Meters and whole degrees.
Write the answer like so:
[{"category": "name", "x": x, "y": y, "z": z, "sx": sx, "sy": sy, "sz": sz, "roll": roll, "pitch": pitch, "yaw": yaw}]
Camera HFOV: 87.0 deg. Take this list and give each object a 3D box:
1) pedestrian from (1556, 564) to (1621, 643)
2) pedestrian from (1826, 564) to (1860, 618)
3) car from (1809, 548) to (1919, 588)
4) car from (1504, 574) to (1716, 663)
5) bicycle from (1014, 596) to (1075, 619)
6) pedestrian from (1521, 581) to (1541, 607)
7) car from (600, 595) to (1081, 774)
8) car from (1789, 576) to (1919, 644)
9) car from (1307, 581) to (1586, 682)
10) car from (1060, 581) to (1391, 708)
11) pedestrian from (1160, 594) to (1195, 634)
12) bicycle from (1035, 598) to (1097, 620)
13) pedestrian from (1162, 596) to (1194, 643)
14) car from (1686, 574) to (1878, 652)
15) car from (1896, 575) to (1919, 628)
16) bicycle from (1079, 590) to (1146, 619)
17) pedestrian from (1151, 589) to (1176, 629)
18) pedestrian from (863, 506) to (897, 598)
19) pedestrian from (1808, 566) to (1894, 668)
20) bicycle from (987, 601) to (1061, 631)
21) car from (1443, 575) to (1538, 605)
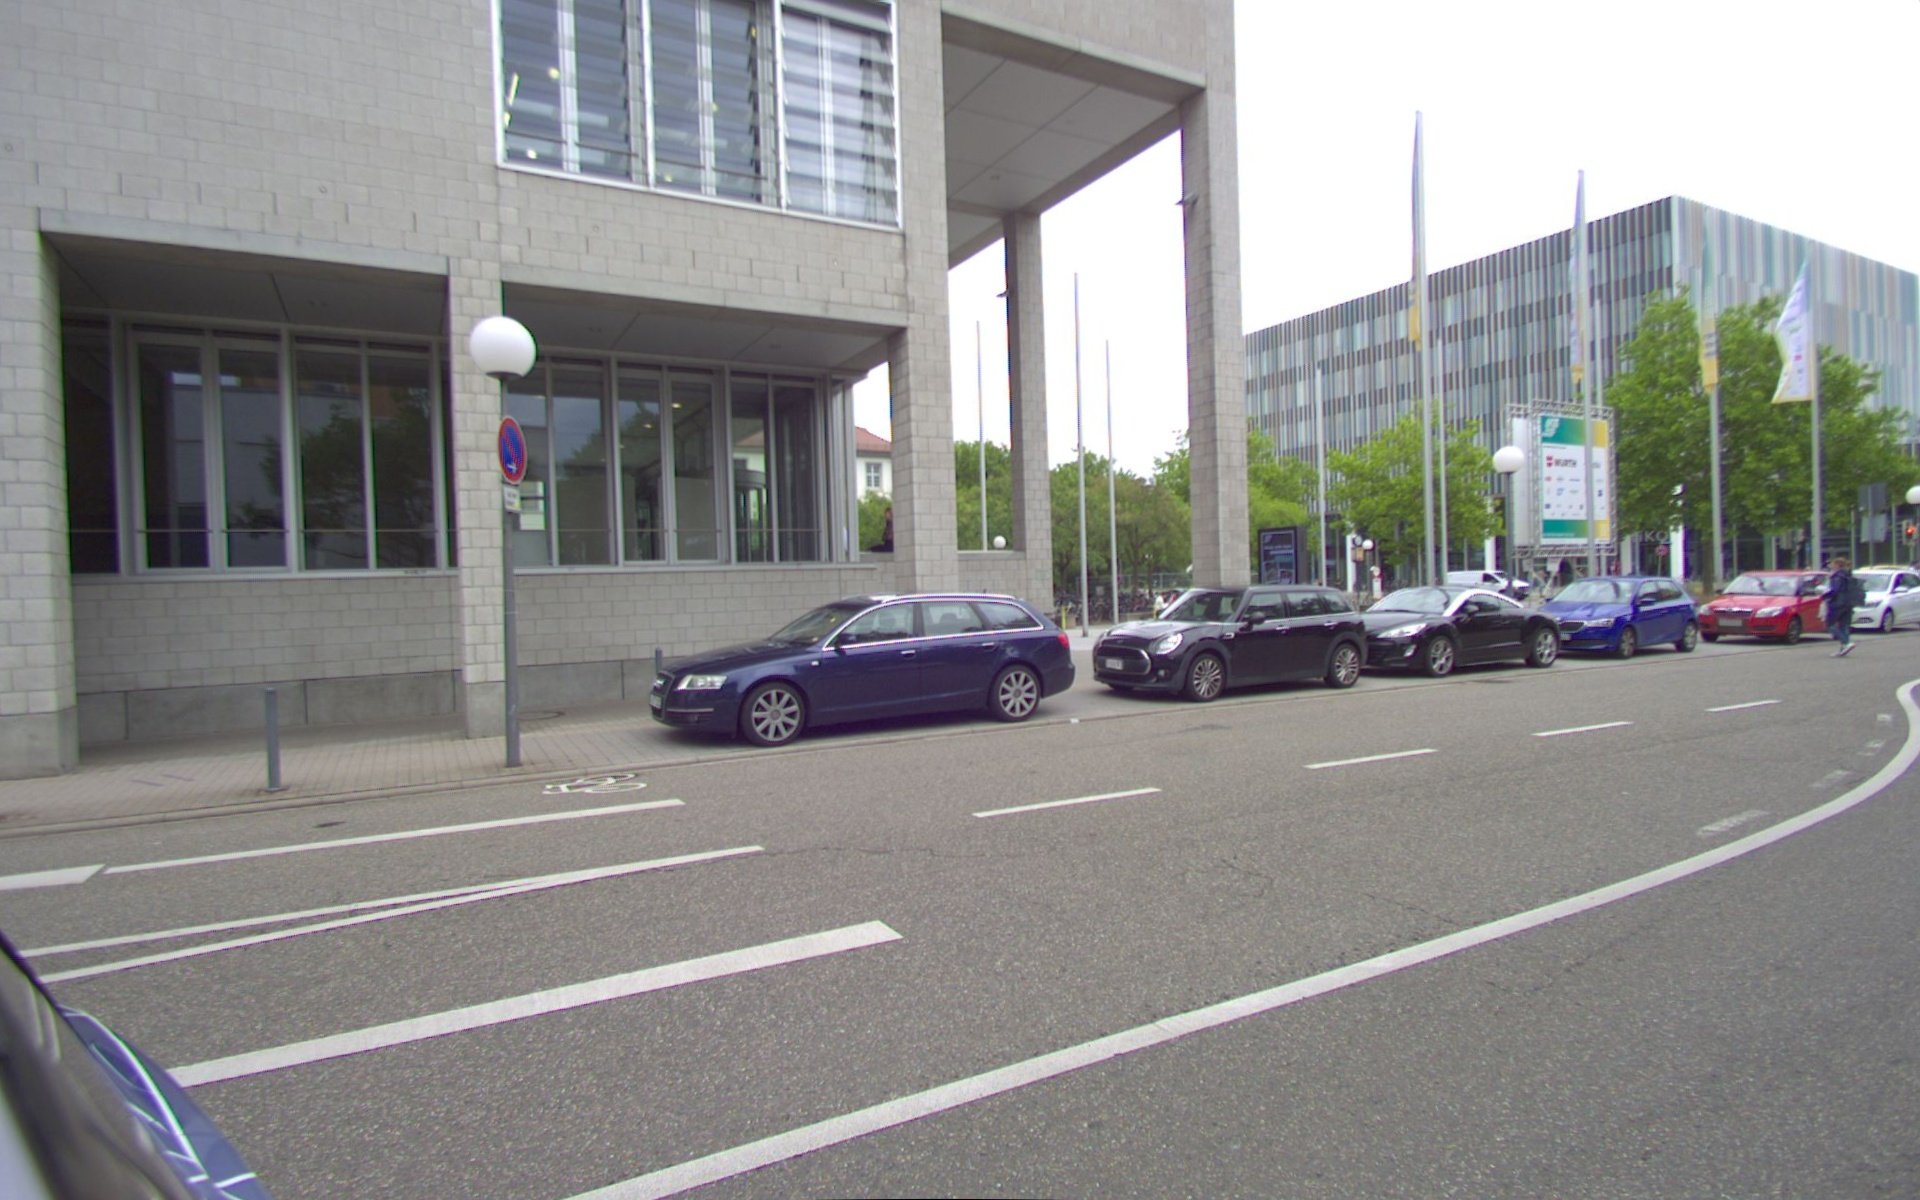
[{"category": "pedestrian", "x": 13.591, "y": 0.086, "z": 21.881, "sx": 0.915, "sy": 1.653, "sz": 0.739, "roll": -2, "pitch": -1, "yaw": -24}, {"category": "pedestrian", "x": 29.047, "y": -0.295, "z": 33.293, "sx": 0.646, "sy": 1.728, "sz": 0.587, "roll": -1, "pitch": -1, "yaw": -26}, {"category": "car", "x": 41.993, "y": -1.463, "z": 46.418, "sx": 1.965, "sy": 1.630, "sz": 4.207, "roll": -2, "pitch": 0, "yaw": -27}, {"category": "car", "x": 12.273, "y": 0.288, "z": 19.037, "sx": 4.303, "sy": 1.422, "sz": 1.705, "roll": -2, "pitch": 1, "yaw": -33}, {"category": "bicycle", "x": 4.891, "y": 0.435, "z": 58.271, "sx": 3.335, "sy": 1.179, "sz": 1.059, "roll": -3, "pitch": 0, "yaw": -24}, {"category": "pedestrian", "x": 45.051, "y": -0.442, "z": 79.855, "sx": 0.840, "sy": 2.029, "sz": 1.004, "roll": 0, "pitch": -2, "yaw": -21}, {"category": "car", "x": -1.245, "y": 0.765, "z": 11.190, "sx": 4.838, "sy": 1.463, "sz": 2.006, "roll": -2, "pitch": 0, "yaw": -29}, {"category": "car", "x": 21.907, "y": 0.209, "z": 24.269, "sx": 3.792, "sy": 1.464, "sz": 1.872, "roll": -2, "pitch": 0, "yaw": -29}, {"category": "car", "x": 7.911, "y": 0.473, "z": 16.410, "sx": 4.342, "sy": 1.453, "sz": 1.860, "roll": 0, "pitch": -1, "yaw": -28}, {"category": "car", "x": 3.735, "y": 0.502, "z": 14.029, "sx": 4.443, "sy": 1.454, "sz": 1.829, "roll": -2, "pitch": 1, "yaw": -30}, {"category": "pedestrian", "x": 8.212, "y": 0.528, "z": 38.167, "sx": 0.954, "sy": 1.431, "sz": 0.853, "roll": -2, "pitch": 0, "yaw": -40}, {"category": "bicycle", "x": 5.867, "y": 0.498, "z": 56.080, "sx": 3.335, "sy": 1.179, "sz": 1.059, "roll": 1, "pitch": -2, "yaw": -24}, {"category": "pedestrian", "x": 8.236, "y": 0.735, "z": 38.202, "sx": 0.850, "sy": 1.717, "sz": 0.957, "roll": -1, "pitch": 1, "yaw": 34}, {"category": "car", "x": 17.412, "y": 0.209, "z": 21.416, "sx": 4.200, "sy": 1.484, "sz": 1.723, "roll": -1, "pitch": 2, "yaw": -29}, {"category": "car", "x": 26.204, "y": 0.016, "z": 26.162, "sx": 1.858, "sy": 1.412, "sz": 4.434, "roll": -3, "pitch": -1, "yaw": 29}, {"category": "bicycle", "x": 6.743, "y": 0.185, "z": 44.660, "sx": 3.054, "sy": 1.179, "sz": 0.750, "roll": -2, "pitch": 0, "yaw": -28}, {"category": "pedestrian", "x": 7.518, "y": 0.339, "z": 37.426, "sx": 0.670, "sy": 1.424, "sz": 0.762, "roll": -2, "pitch": 0, "yaw": 29}, {"category": "pedestrian", "x": -1.521, "y": -0.897, "z": 19.280, "sx": 0.622, "sy": 1.671, "sz": 0.808, "roll": 0, "pitch": -2, "yaw": -4}, {"category": "pedestrian", "x": 15.032, "y": 0.270, "z": 17.081, "sx": 0.951, "sy": 1.674, "sz": 0.743, "roll": -1, "pitch": 0, "yaw": -24}, {"category": "bicycle", "x": 2.554, "y": 0.650, "z": 40.400, "sx": 3.054, "sy": 1.179, "sz": 0.624, "roll": 1, "pitch": -2, "yaw": -27}, {"category": "car", "x": 33.024, "y": -0.591, "z": 63.114, "sx": 1.966, "sy": 1.675, "sz": 4.854, "roll": -2, "pitch": -1, "yaw": -31}]
